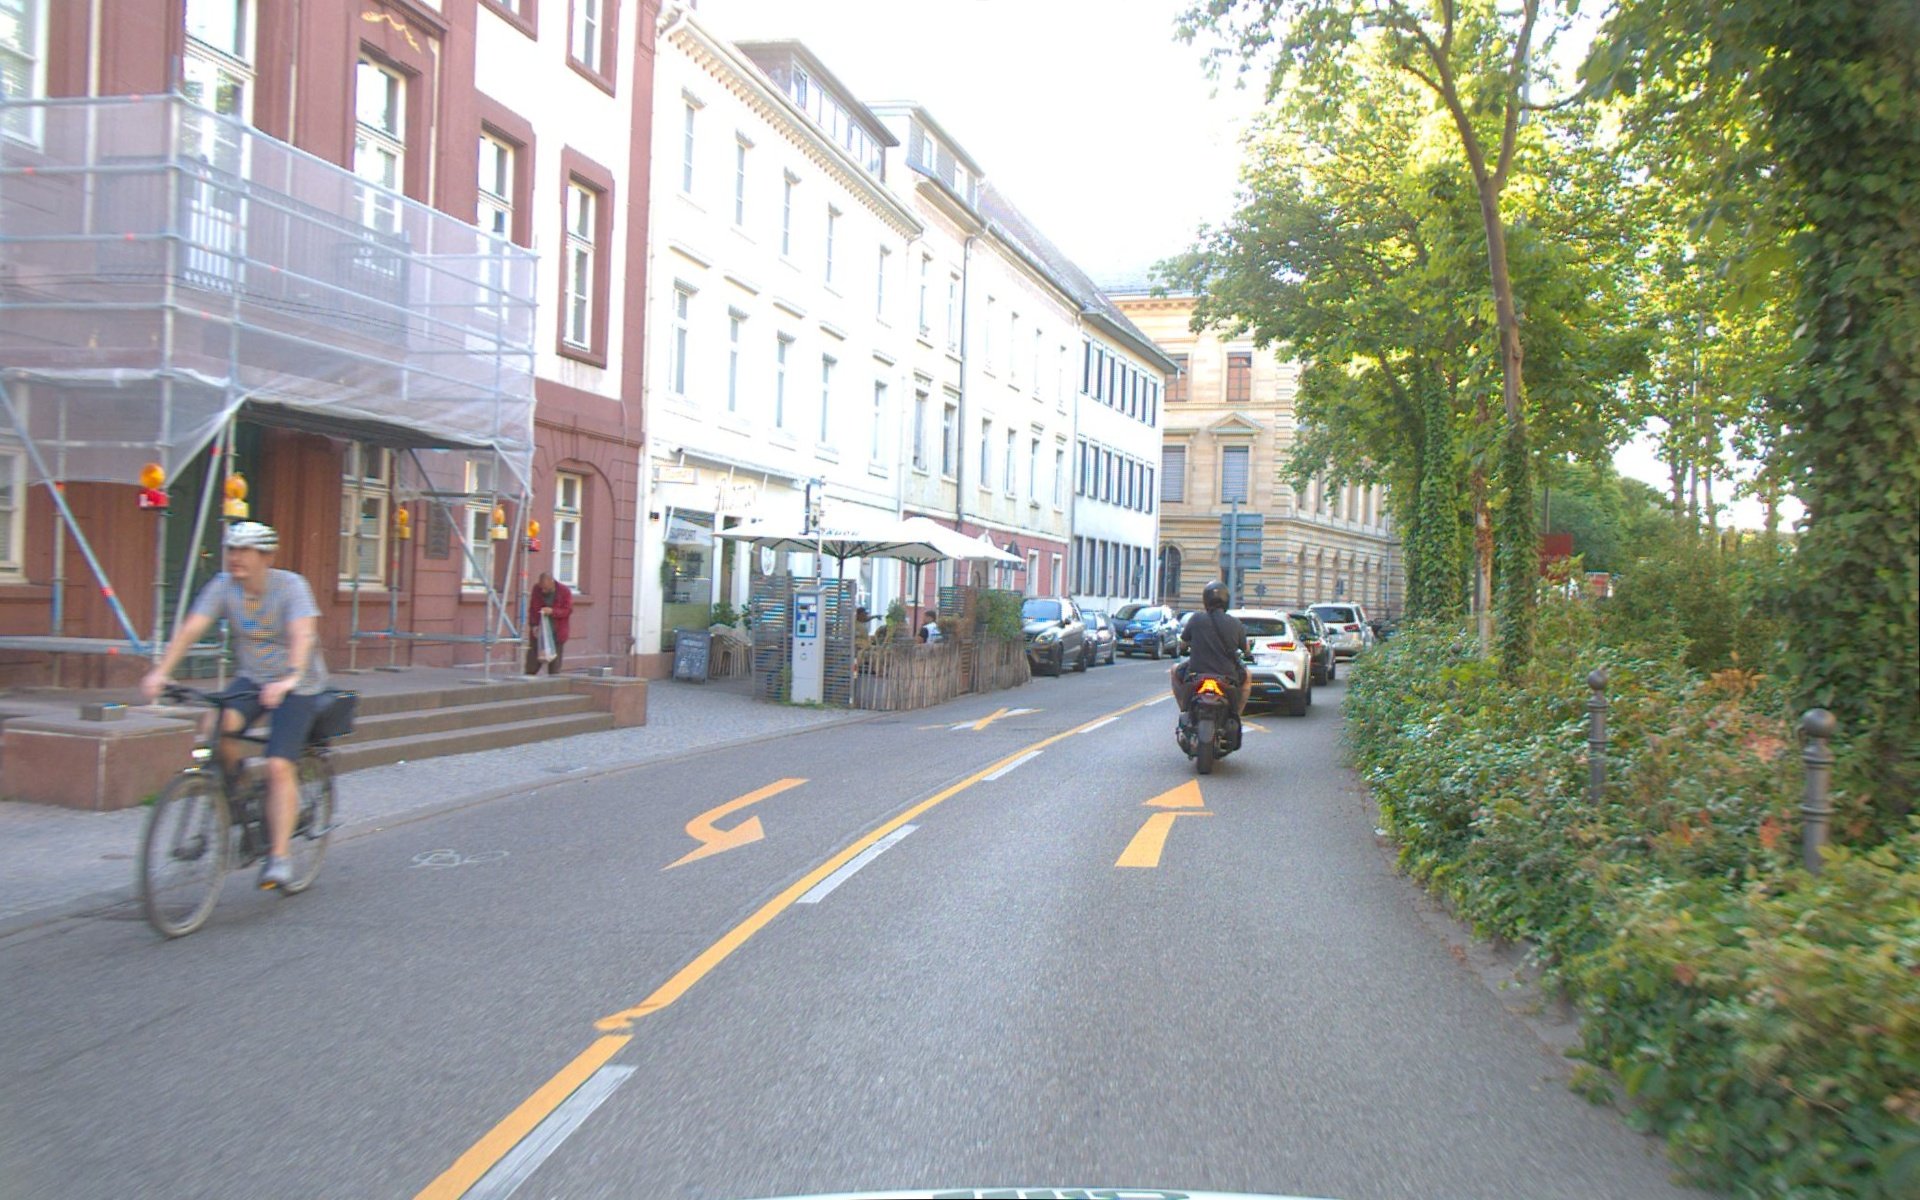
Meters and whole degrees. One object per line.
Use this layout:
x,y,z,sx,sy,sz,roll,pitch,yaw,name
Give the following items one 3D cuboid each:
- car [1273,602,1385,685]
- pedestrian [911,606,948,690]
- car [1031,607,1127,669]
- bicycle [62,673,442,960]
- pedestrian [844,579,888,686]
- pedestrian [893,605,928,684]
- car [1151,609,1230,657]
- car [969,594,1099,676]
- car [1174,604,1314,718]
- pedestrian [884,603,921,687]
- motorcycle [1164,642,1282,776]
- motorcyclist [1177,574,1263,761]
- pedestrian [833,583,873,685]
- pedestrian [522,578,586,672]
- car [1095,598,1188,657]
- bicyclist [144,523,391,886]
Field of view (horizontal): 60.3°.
7.587,0.845,33.758,1.802,1.489,4.059,3,0,18,car
-0.540,0.841,29.179,0.461,1.458,0.502,2,0,19,pedestrian
3.182,0.969,43.392,1.618,1.506,4.431,1,0,16,car
-3.305,0.953,7.990,0.755,1.081,2.079,2,0,5,bicycle
-1.627,0.556,28.579,0.583,1.806,0.439,2,0,23,pedestrian
-0.904,0.810,30.439,0.512,1.415,0.489,2,0,11,pedestrian
8.109,1.125,57.943,1.786,1.530,4.761,3,0,19,car
1.769,0.764,37.691,1.881,1.709,4.788,1,0,16,car
4.327,0.842,24.764,1.811,1.506,4.061,2,0,13,car
-0.987,0.773,28.469,0.512,1.415,0.489,2,0,11,pedestrian
2.424,0.983,15.411,0.780,1.084,1.725,3,0,0,motorcycle
2.425,0.618,15.500,0.643,1.679,0.651,3,0,1,motorcyclist
-1.943,0.611,29.926,0.429,1.806,0.597,2,0,27,pedestrian
-4.821,0.289,19.656,0.525,1.071,0.552,3,0,10,pedestrian
5.646,0.837,51.120,1.894,1.696,4.348,1,0,20,car
-3.285,0.471,7.913,0.728,1.611,0.795,3,0,6,bicyclist
